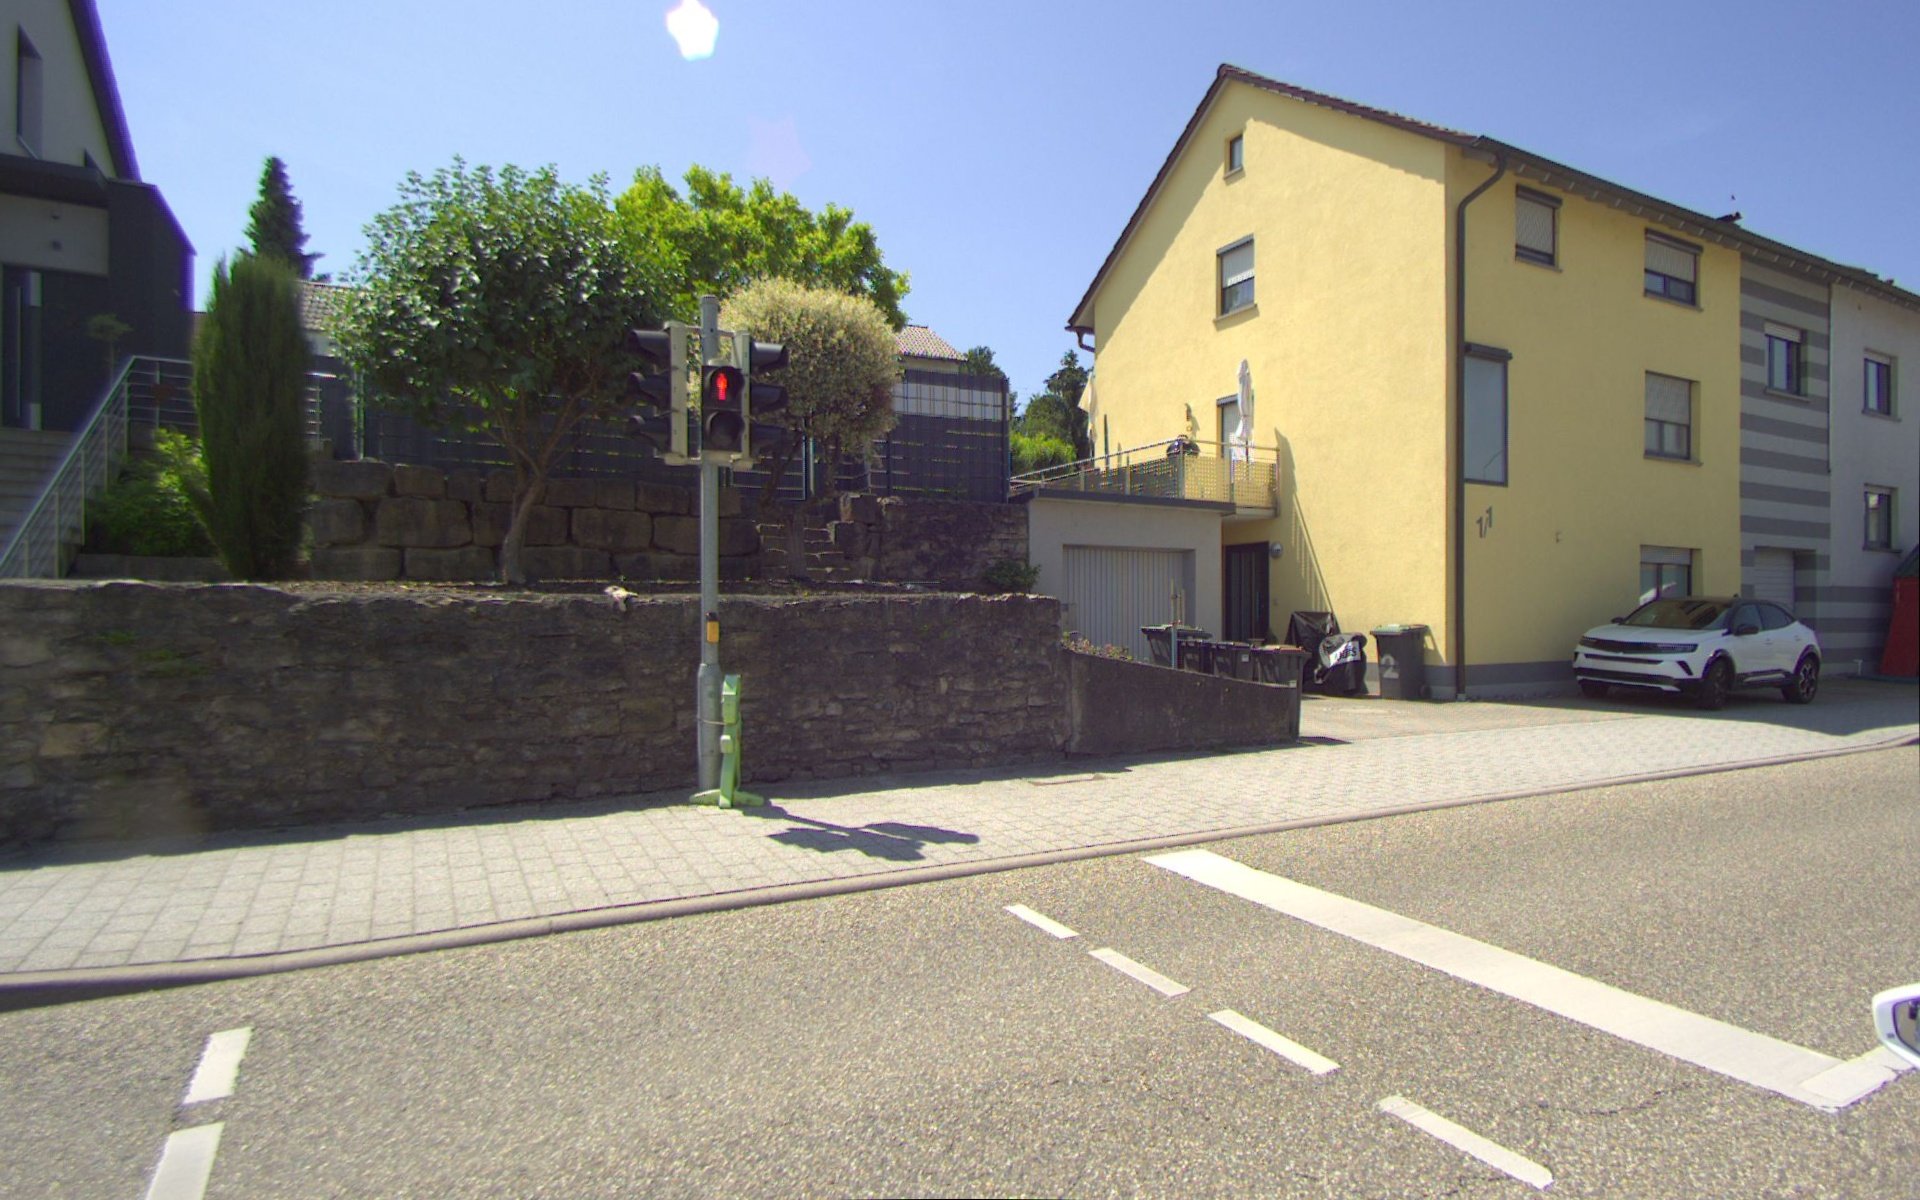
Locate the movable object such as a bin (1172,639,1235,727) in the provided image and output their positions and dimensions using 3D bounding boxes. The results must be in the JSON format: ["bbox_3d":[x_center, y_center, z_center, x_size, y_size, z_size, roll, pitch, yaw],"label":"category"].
[{"bbox_3d":[2.777,0.930,11.450,0.524,0.950,0.445,1,0,-30],"label":"movable object such as a bin"}]

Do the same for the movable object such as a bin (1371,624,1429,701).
[{"bbox_3d":[6.318,0.886,14.429,0.600,1.057,0.498,1,0,-30],"label":"movable object such as a bin"}]

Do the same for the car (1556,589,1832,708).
[{"bbox_3d":[10.999,0.665,15.017,4.136,1.573,1.723,1,0,-28],"label":"car"}]

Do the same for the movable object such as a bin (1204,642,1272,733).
[{"bbox_3d":[3.046,0.947,11.015,0.555,0.941,0.445,1,0,-30],"label":"movable object such as a bin"}]

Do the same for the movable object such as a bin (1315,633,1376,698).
[{"bbox_3d":[5.726,0.965,14.922,0.600,0.922,0.595,1,-1,-29],"label":"movable object such as a bin"}]

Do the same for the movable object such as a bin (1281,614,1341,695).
[{"bbox_3d":[5.418,0.829,15.523,0.686,1.212,0.549,1,0,-30],"label":"movable object such as a bin"}]

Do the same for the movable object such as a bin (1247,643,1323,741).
[{"bbox_3d":[3.356,0.933,10.384,0.547,0.961,0.498,1,0,-29],"label":"movable object such as a bin"}]

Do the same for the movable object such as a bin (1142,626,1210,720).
[{"bbox_3d":[2.570,0.850,11.945,0.626,1.069,0.468,1,1,-30],"label":"movable object such as a bin"}]
